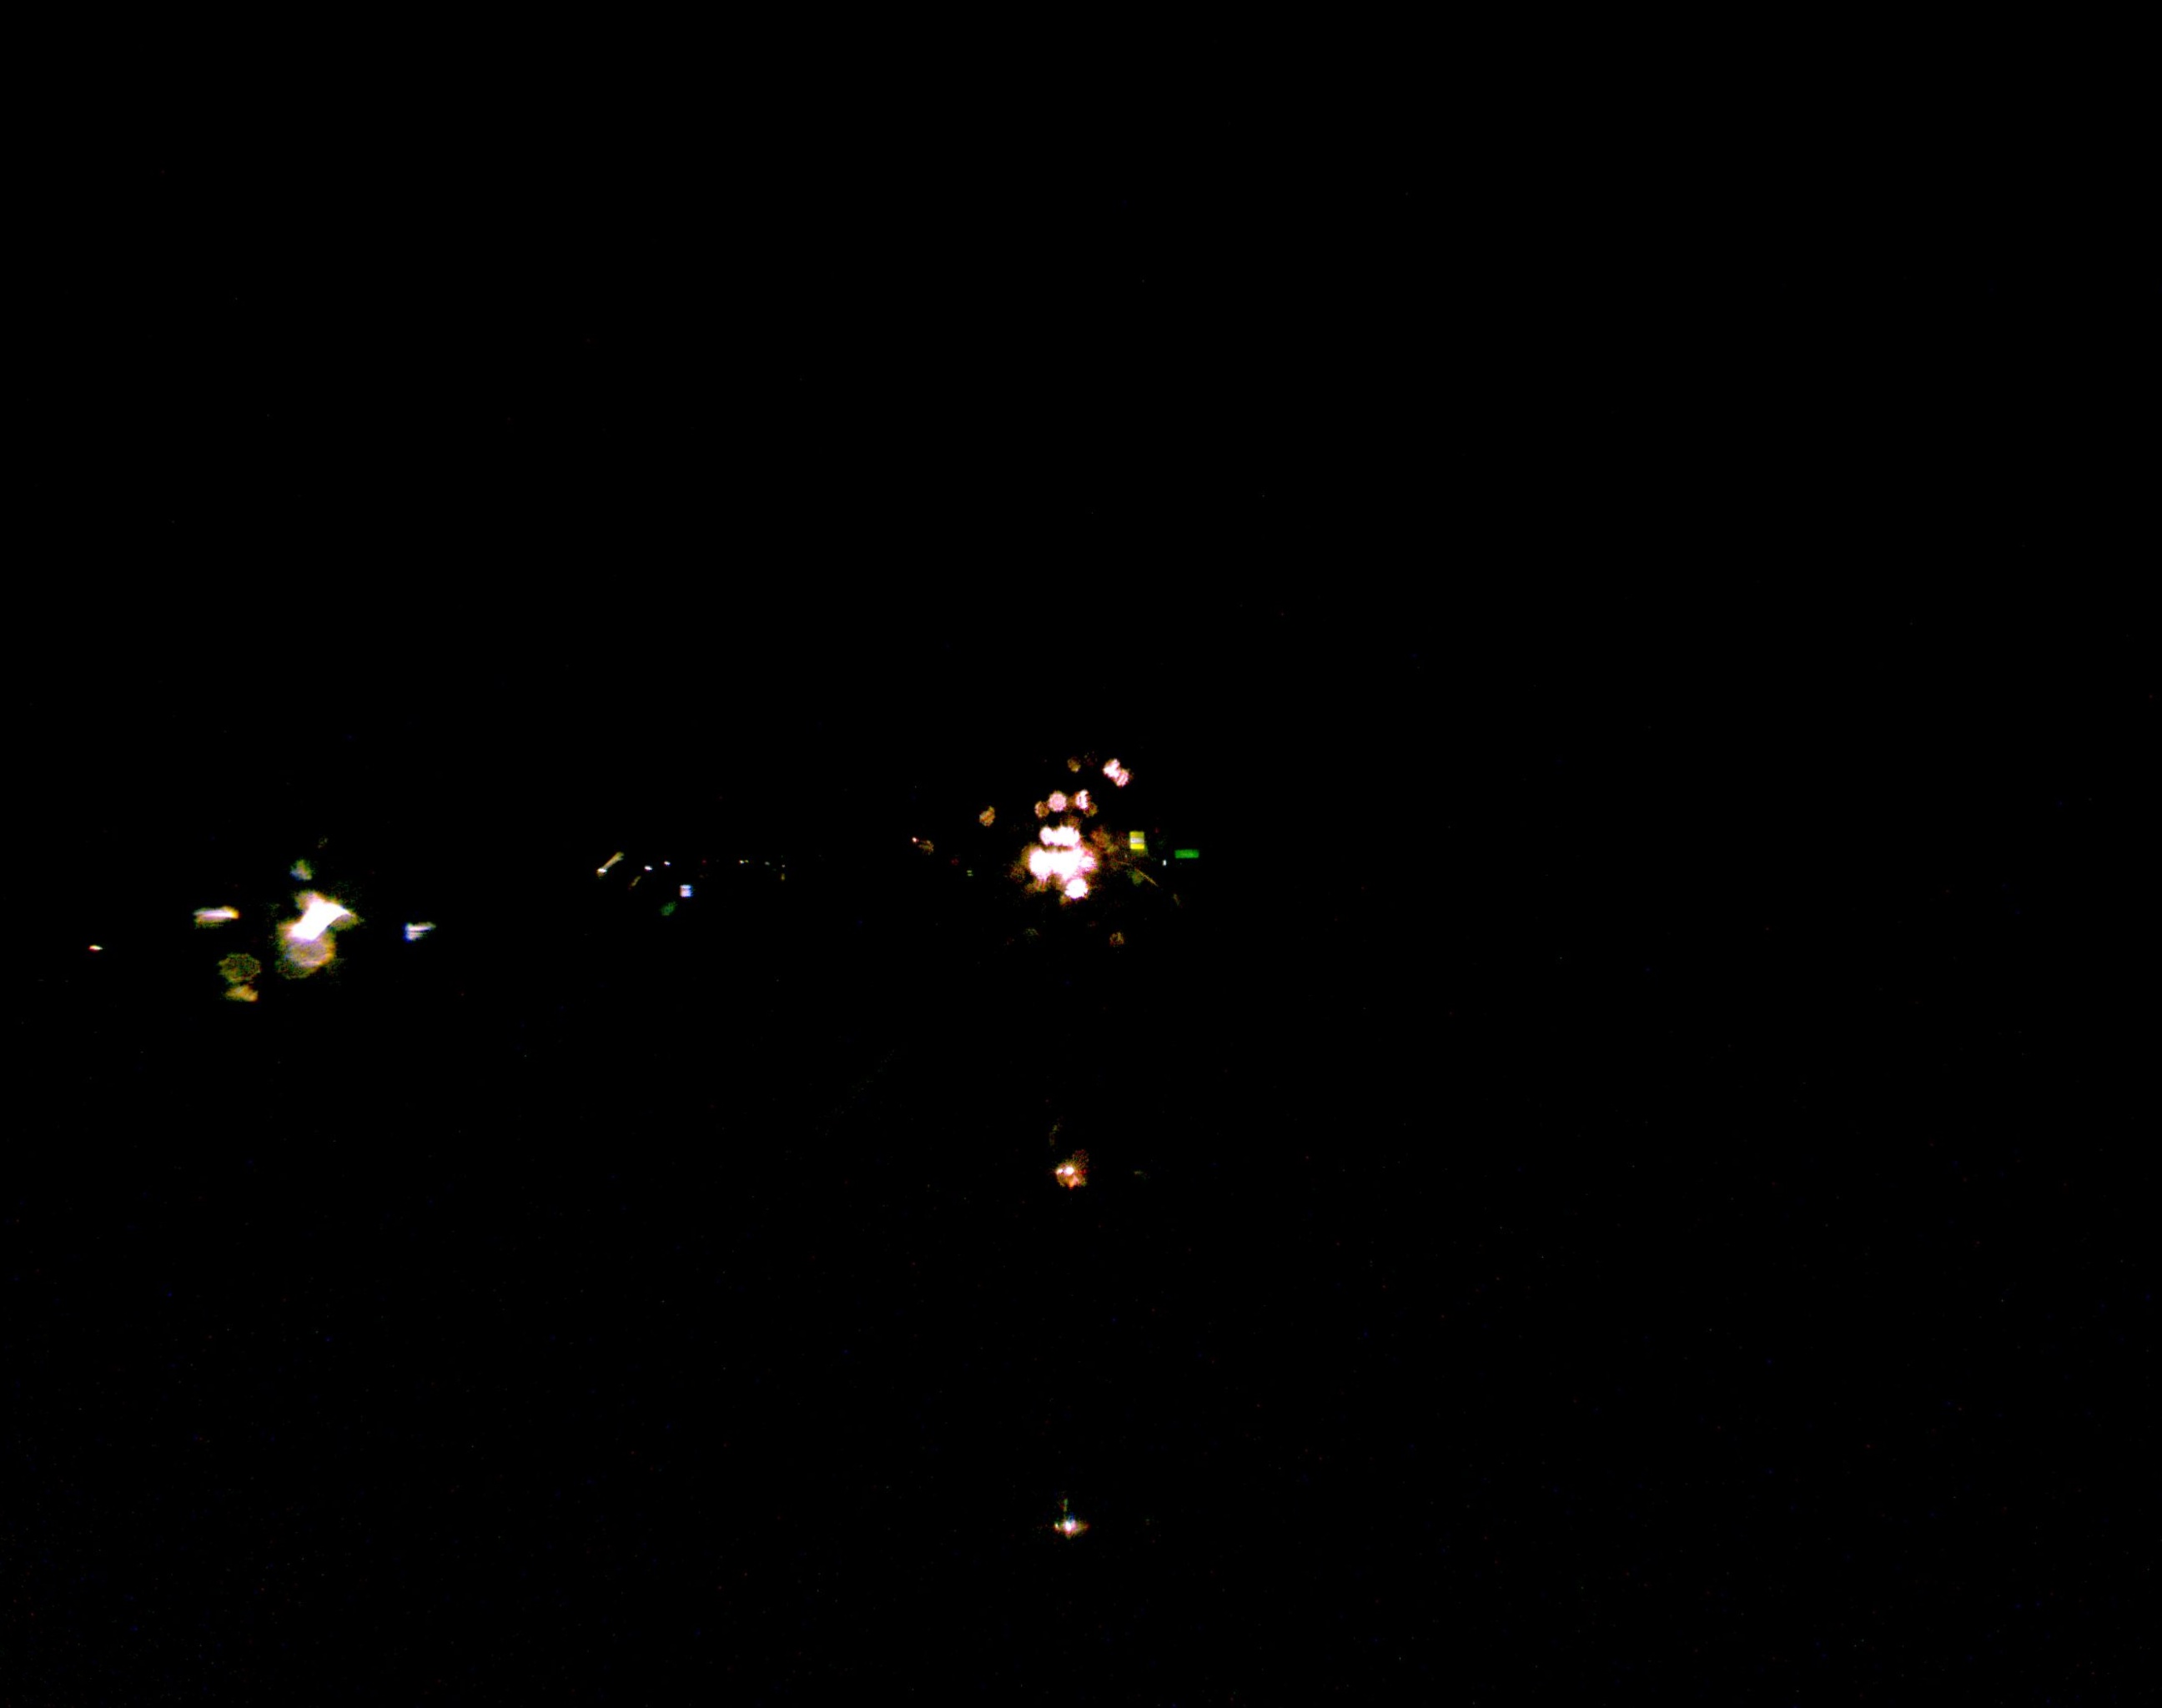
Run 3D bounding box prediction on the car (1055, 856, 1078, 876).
[{"bbox_3d":[-1.856,1.615,107.065,2.743,2.269,6.261,-6,-1,0],"label":"car"}]
